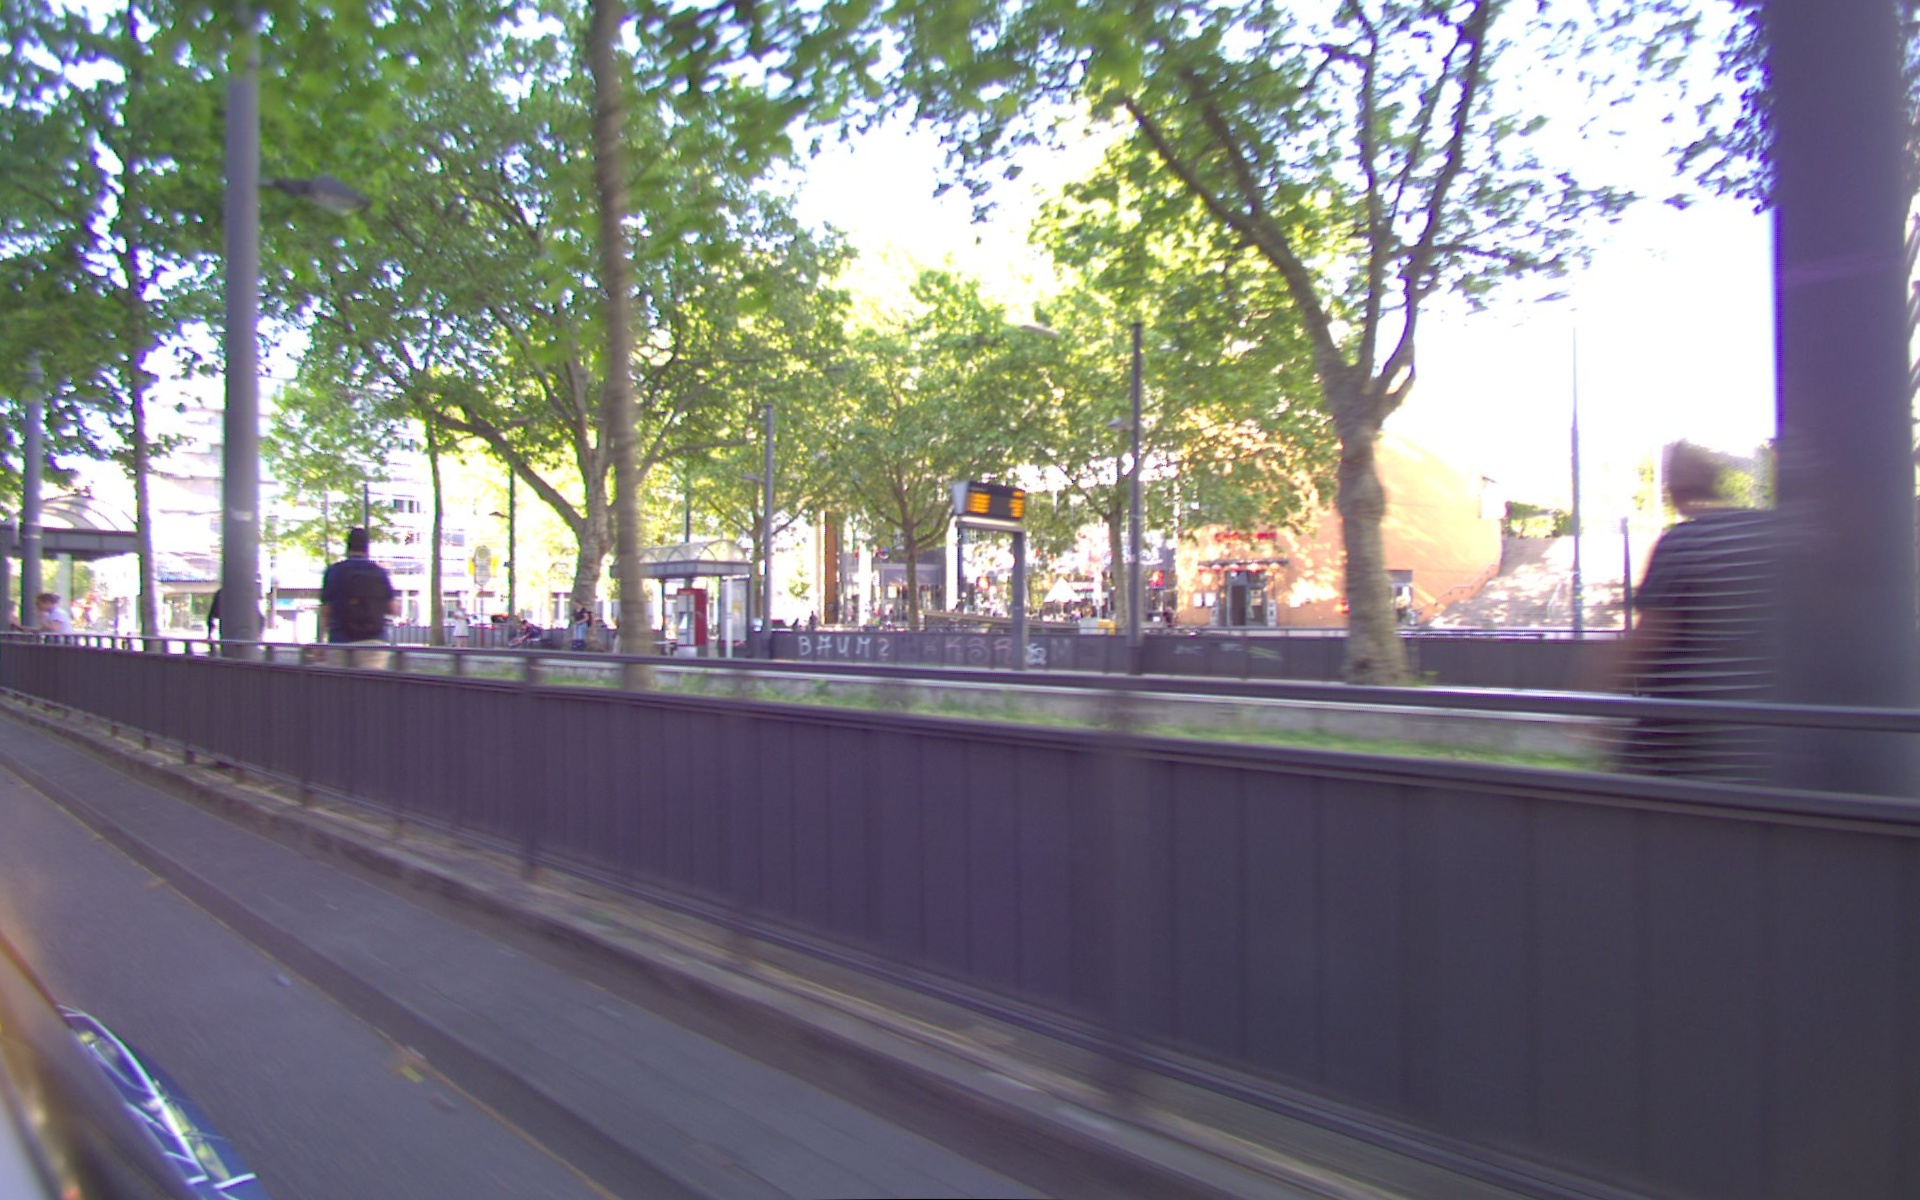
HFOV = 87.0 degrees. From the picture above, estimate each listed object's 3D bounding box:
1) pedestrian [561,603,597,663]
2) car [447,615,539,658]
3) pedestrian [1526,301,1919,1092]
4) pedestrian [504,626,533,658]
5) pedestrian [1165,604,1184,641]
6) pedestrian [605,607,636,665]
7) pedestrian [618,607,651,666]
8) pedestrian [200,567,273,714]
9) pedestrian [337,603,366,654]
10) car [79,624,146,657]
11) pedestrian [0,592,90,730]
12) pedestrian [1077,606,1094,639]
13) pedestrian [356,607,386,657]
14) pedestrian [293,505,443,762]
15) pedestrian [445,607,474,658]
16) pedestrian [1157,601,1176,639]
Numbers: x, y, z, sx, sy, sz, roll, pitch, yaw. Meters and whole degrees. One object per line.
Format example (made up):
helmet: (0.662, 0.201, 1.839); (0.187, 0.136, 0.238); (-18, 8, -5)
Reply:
pedestrian: (-10.562, 0.899, 28.070); (0.666, 1.654, 0.662); (-1, -1, 29)
car: (-19.135, 1.456, 41.379); (3.999, 1.652, 1.972); (-1, -2, 42)
pedestrian: (2.086, 0.212, 2.677); (0.862, 1.715, 0.721); (-1, -1, 42)
pedestrian: (-14.498, 1.371, 33.222); (0.713, 1.048, 0.699); (0, -1, -42)
pedestrian: (9.385, 0.969, 44.316); (0.571, 1.616, 0.598); (0, -1, -45)
pedestrian: (-8.850, 0.931, 26.396); (0.549, 1.508, 0.549); (-1, -1, 29)
pedestrian: (-8.368, 0.924, 26.020); (0.605, 1.497, 0.566); (-1, -1, 29)
pedestrian: (-9.465, 0.516, 13.240); (0.637, 1.853, 0.640); (-1, -1, 40)
pedestrian: (-21.436, 1.007, 35.678); (0.674, 1.767, 0.649); (-1, -1, 32)
car: (-39.093, 1.834, 46.676); (3.340, 1.466, 1.847); (-1, -1, 41)
pedestrian: (-11.841, 0.762, 13.089); (0.644, 1.702, 0.733); (-1, 1, 39)
pedestrian: (6.159, 1.083, 49.750); (0.597, 1.616, 0.572); (-1, -1, 39)
pedestrian: (-20.621, 1.114, 35.436); (0.697, 1.708, 0.679); (-1, -1, 32)
pedestrian: (-4.499, 0.243, 7.696); (0.824, 1.816, 0.701); (-1, -1, 33)
pedestrian: (-17.422, 1.118, 35.251); (0.635, 1.753, 0.690); (-1, -1, 32)
pedestrian: (8.960, 0.870, 43.893); (0.571, 1.616, 0.580); (0, -1, -45)
